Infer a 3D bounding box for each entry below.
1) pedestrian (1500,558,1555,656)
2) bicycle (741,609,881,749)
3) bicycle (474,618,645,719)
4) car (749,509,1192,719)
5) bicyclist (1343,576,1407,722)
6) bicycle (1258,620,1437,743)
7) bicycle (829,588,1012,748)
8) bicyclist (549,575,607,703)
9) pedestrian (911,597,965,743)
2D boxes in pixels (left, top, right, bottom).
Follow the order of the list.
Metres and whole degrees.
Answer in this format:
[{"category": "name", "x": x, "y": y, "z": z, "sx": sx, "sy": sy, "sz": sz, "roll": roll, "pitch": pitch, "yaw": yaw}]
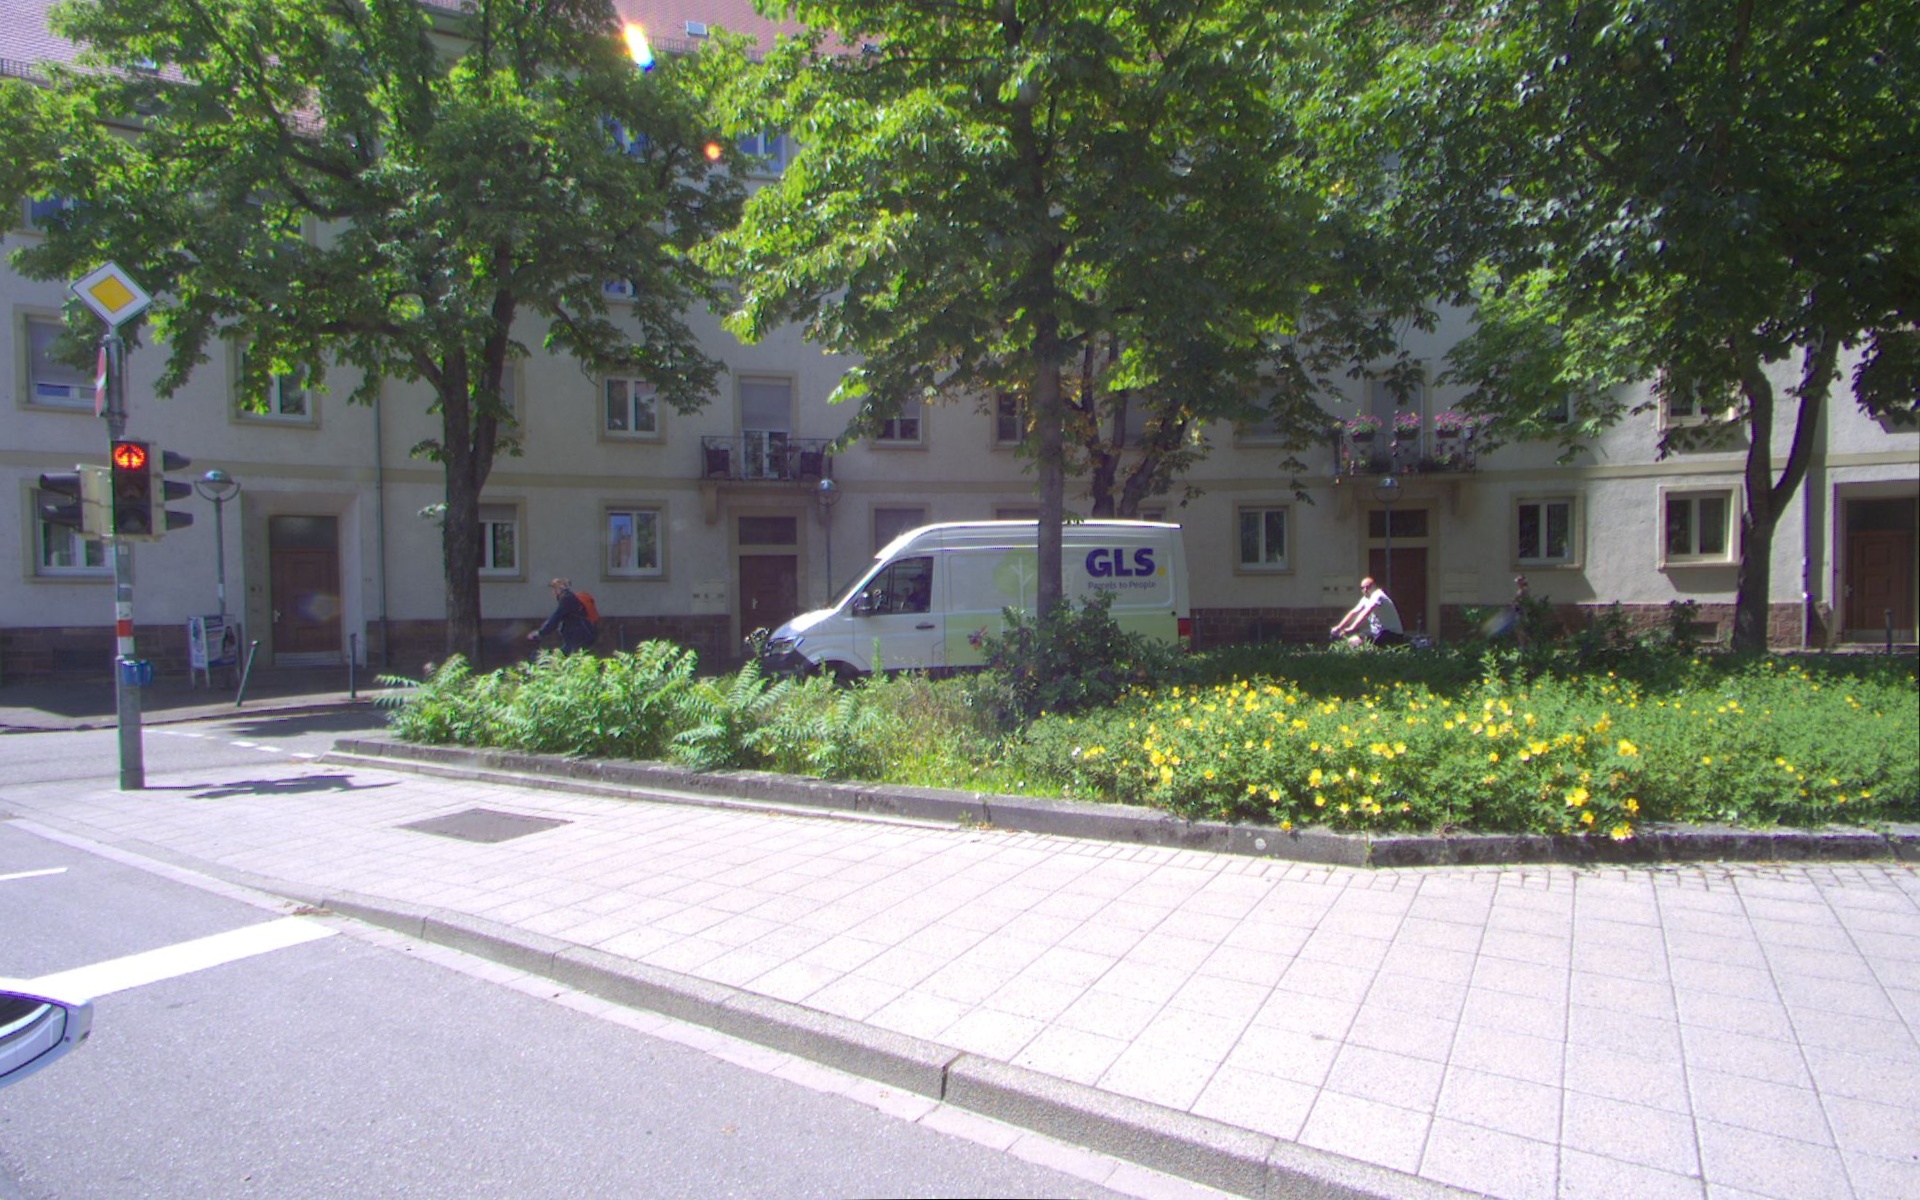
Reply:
[{"category": "pedestrian", "x": 12.178, "y": 0.156, "z": 21.507, "sx": 0.758, "sy": 2.040, "sz": 0.807, "roll": 0, "pitch": 0, "yaw": 7}, {"category": "bicycle", "x": -1.306, "y": 0.670, "z": 8.660, "sx": 1.269, "sy": 1.141, "sz": 0.332, "roll": -2, "pitch": -1, "yaw": 32}, {"category": "bicycle", "x": -5.289, "y": 0.879, "z": 13.286, "sx": 2.054, "sy": 1.253, "sz": 0.578, "roll": 0, "pitch": 0, "yaw": -25}, {"category": "car", "x": 0.099, "y": 0.154, "z": 13.866, "sx": 5.738, "sy": 2.624, "sz": 1.999, "roll": 0, "pitch": 1, "yaw": -7}, {"category": "bicyclist", "x": 5.348, "y": 0.621, "z": 12.923, "sx": 0.524, "sy": 1.823, "sz": 0.603, "roll": 0, "pitch": 0, "yaw": -9}, {"category": "bicycle", "x": 4.974, "y": 1.022, "z": 12.871, "sx": 2.127, "sy": 1.505, "sz": 0.593, "roll": 0, "pitch": 0, "yaw": -9}, {"category": "bicycle", "x": -0.398, "y": 0.599, "z": 9.258, "sx": 1.809, "sy": 1.377, "sz": 0.351, "roll": -1, "pitch": 0, "yaw": 33}, {"category": "bicyclist", "x": -5.104, "y": 0.510, "z": 13.368, "sx": 0.684, "sy": 1.667, "sz": 0.578, "roll": 0, "pitch": 0, "yaw": -24}, {"category": "pedestrian", "x": -0.197, "y": 0.626, "z": 9.135, "sx": 0.345, "sy": 1.301, "sz": 0.365, "roll": 0, "pitch": 0, "yaw": 32}]
